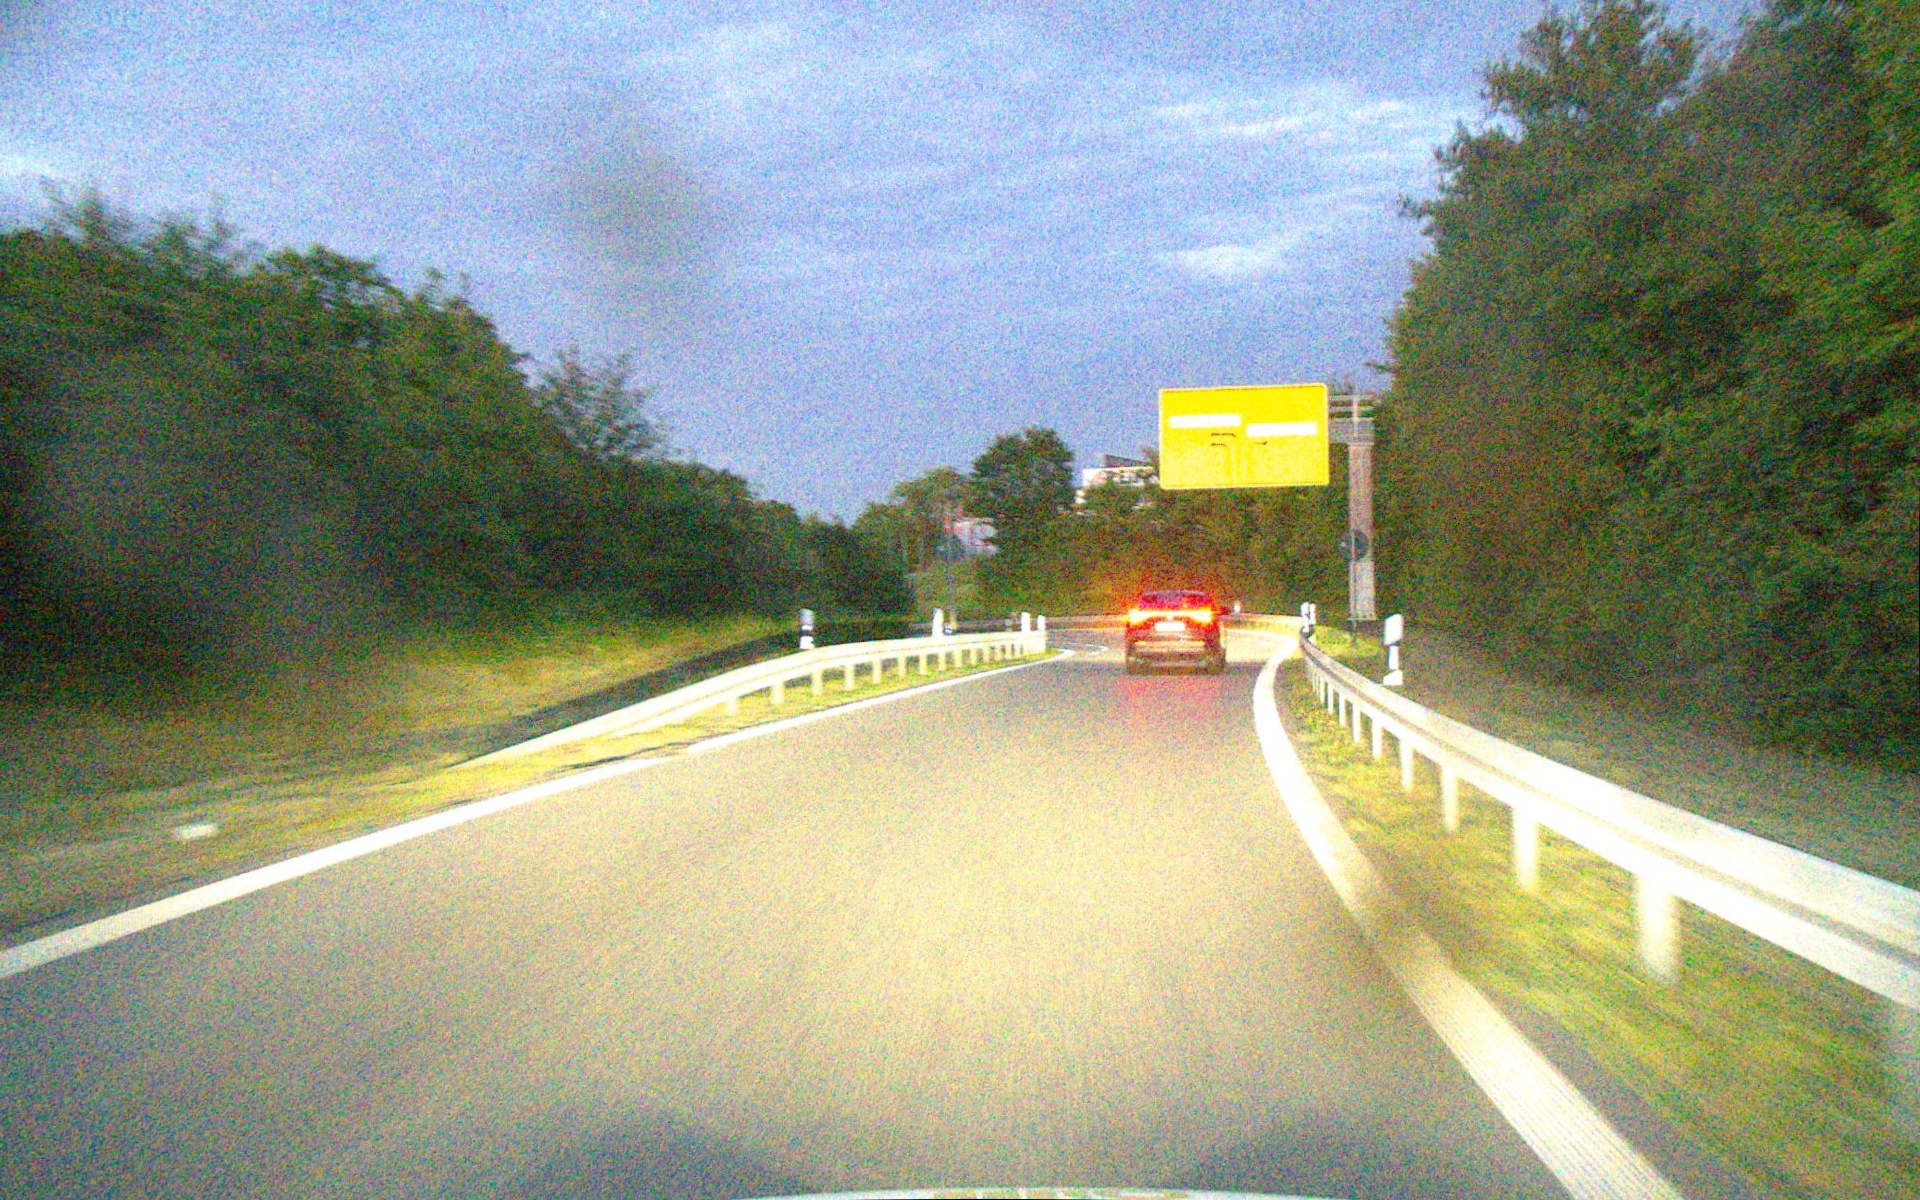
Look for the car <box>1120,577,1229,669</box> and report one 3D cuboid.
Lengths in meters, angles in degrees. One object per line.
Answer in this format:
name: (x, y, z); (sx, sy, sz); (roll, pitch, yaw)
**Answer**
car: (4.354, 0.409, 33.089); (1.951, 1.688, 4.319); (-2, 0, 10)
